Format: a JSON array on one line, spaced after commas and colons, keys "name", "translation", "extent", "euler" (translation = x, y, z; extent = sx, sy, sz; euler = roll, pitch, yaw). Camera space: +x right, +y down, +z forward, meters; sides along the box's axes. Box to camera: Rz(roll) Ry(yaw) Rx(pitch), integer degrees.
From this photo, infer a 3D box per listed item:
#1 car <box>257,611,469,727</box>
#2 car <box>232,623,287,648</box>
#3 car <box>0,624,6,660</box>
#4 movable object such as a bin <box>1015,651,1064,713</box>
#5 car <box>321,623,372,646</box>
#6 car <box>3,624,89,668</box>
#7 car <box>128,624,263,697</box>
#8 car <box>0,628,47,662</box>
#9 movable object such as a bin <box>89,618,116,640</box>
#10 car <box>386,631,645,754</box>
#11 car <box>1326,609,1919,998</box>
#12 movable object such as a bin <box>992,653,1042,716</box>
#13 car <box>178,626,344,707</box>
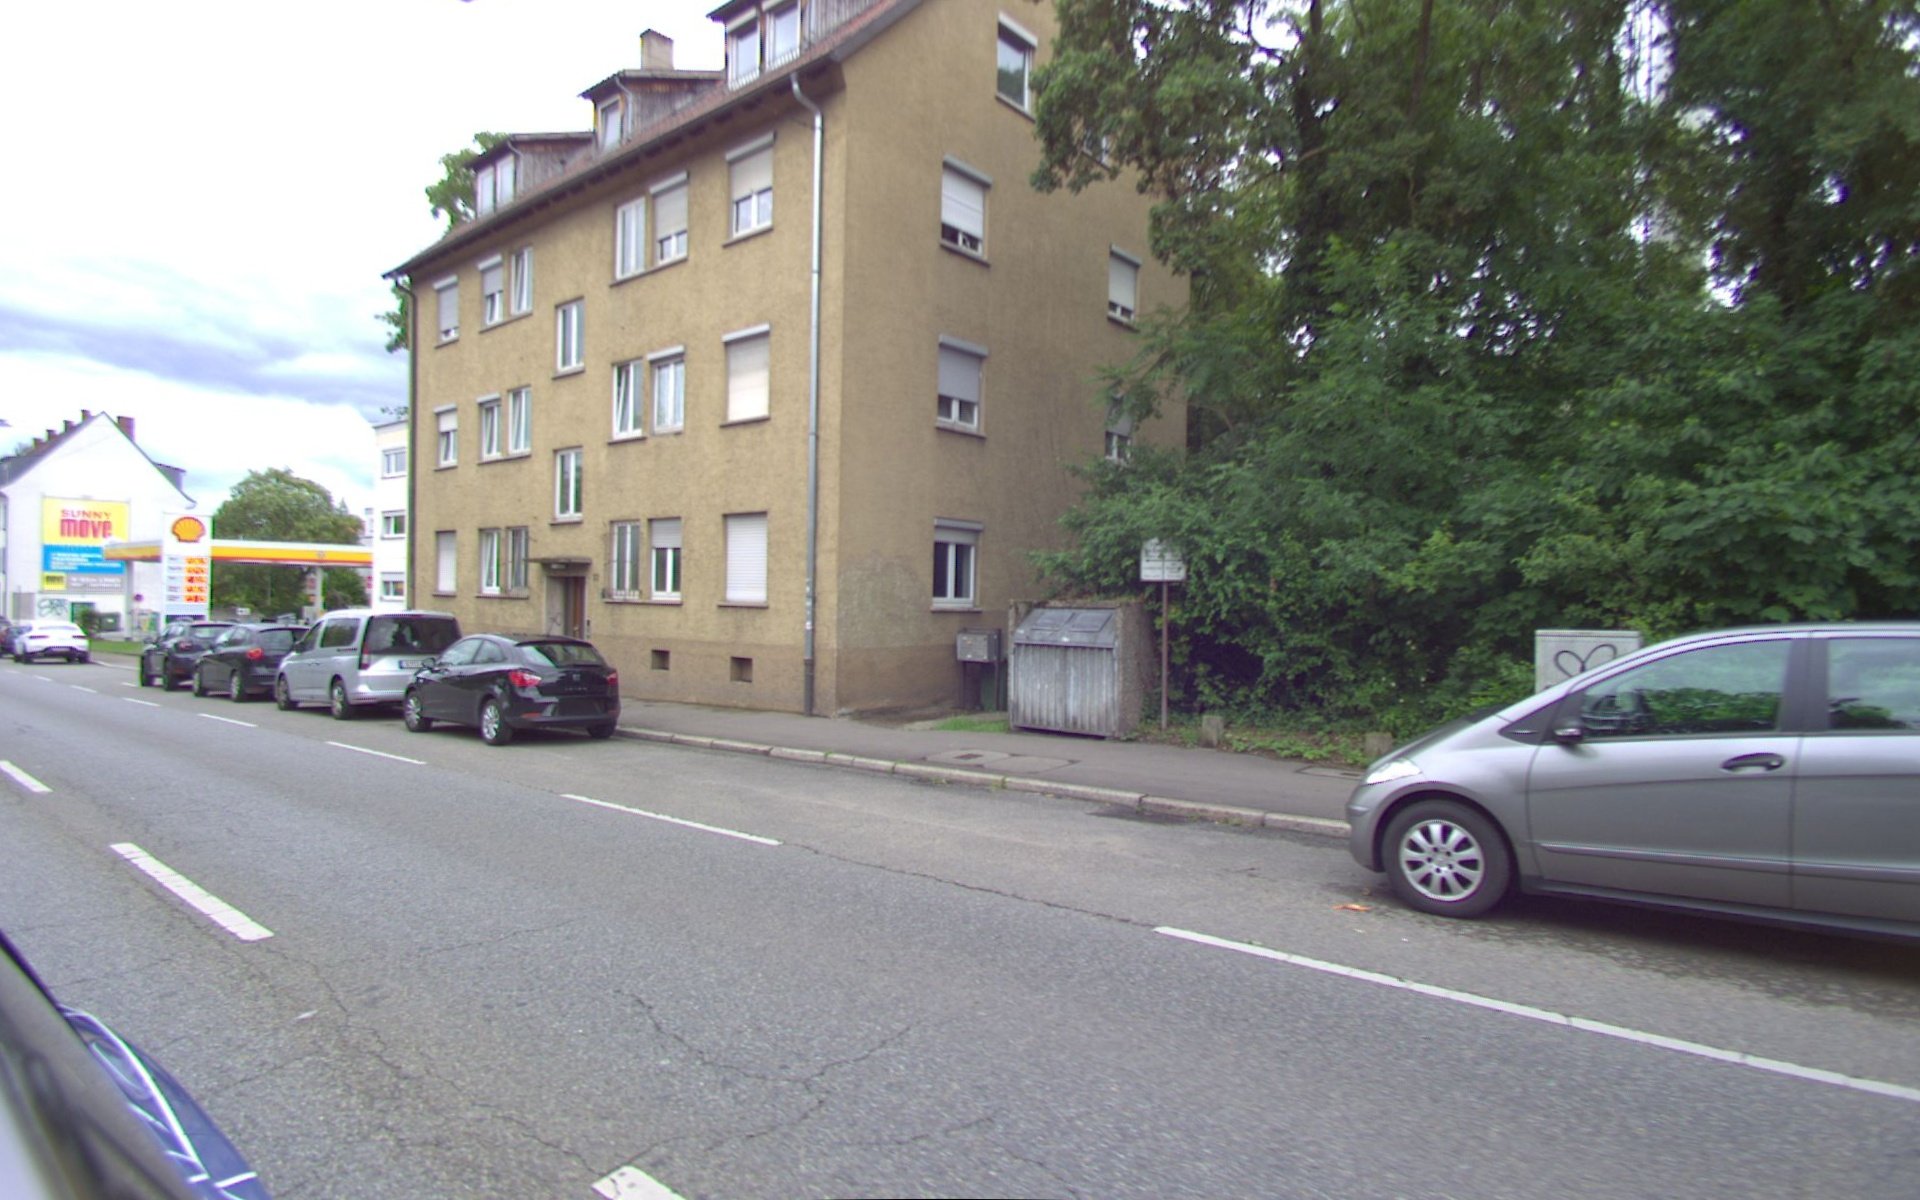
[{"name": "car", "translation": [-10.441, 1.124, 17.570], "extent": [4.554, 1.767, 1.758], "euler": [-2, -3, 41]}, {"name": "car", "translation": [-43.565, 2.199, 62.889], "extent": [4.414, 1.431, 1.779], "euler": [-2, -1, 41]}, {"name": "car", "translation": [-51.111, 2.159, 52.421], "extent": [4.697, 1.849, 1.833], "euler": [-2, -3, 39]}, {"name": "movable object such as a bin", "translation": [1.328, 1.364, 16.975], "extent": [0.579, 0.981, 0.602], "euler": [-2, -2, 41]}, {"name": "car", "translation": [-39.887, 2.256, 65.767], "extent": [3.634, 1.431, 1.779], "euler": [-2, -1, 41]}, {"name": "car", "translation": [-35.161, 1.756, 38.898], "extent": [4.697, 1.589, 1.895], "euler": [-2, -3, 41]}, {"name": "car", "translation": [-18.668, 1.437, 24.655], "extent": [4.263, 1.621, 1.764], "euler": [-2, -4, 42]}, {"name": "car", "translation": [-42.054, 1.982, 44.932], "extent": [4.743, 1.442, 1.778], "euler": [-2, -3, 43]}, {"name": "movable object such as a bin", "translation": [-62.707, 2.141, 74.006], "extent": [1.104, 1.550, 1.252], "euler": [-2, -4, 40]}, {"name": "car", "translation": [-6.213, 1.173, 13.991], "extent": [3.910, 1.450, 1.727], "euler": [-1, -3, 40]}, {"name": "car", "translation": [4.094, 0.870, 5.102], "extent": [3.903, 1.580, 1.728], "euler": [-1, -3, 39]}, {"name": "movable object such as a bin", "translation": [0.933, 1.361, 16.512], "extent": [0.579, 0.981, 0.602], "euler": [-2, -2, 41]}, {"name": "car", "translation": [-14.675, 1.332, 21.180], "extent": [4.094, 1.542, 1.734], "euler": [-1, -3, 39]}]
